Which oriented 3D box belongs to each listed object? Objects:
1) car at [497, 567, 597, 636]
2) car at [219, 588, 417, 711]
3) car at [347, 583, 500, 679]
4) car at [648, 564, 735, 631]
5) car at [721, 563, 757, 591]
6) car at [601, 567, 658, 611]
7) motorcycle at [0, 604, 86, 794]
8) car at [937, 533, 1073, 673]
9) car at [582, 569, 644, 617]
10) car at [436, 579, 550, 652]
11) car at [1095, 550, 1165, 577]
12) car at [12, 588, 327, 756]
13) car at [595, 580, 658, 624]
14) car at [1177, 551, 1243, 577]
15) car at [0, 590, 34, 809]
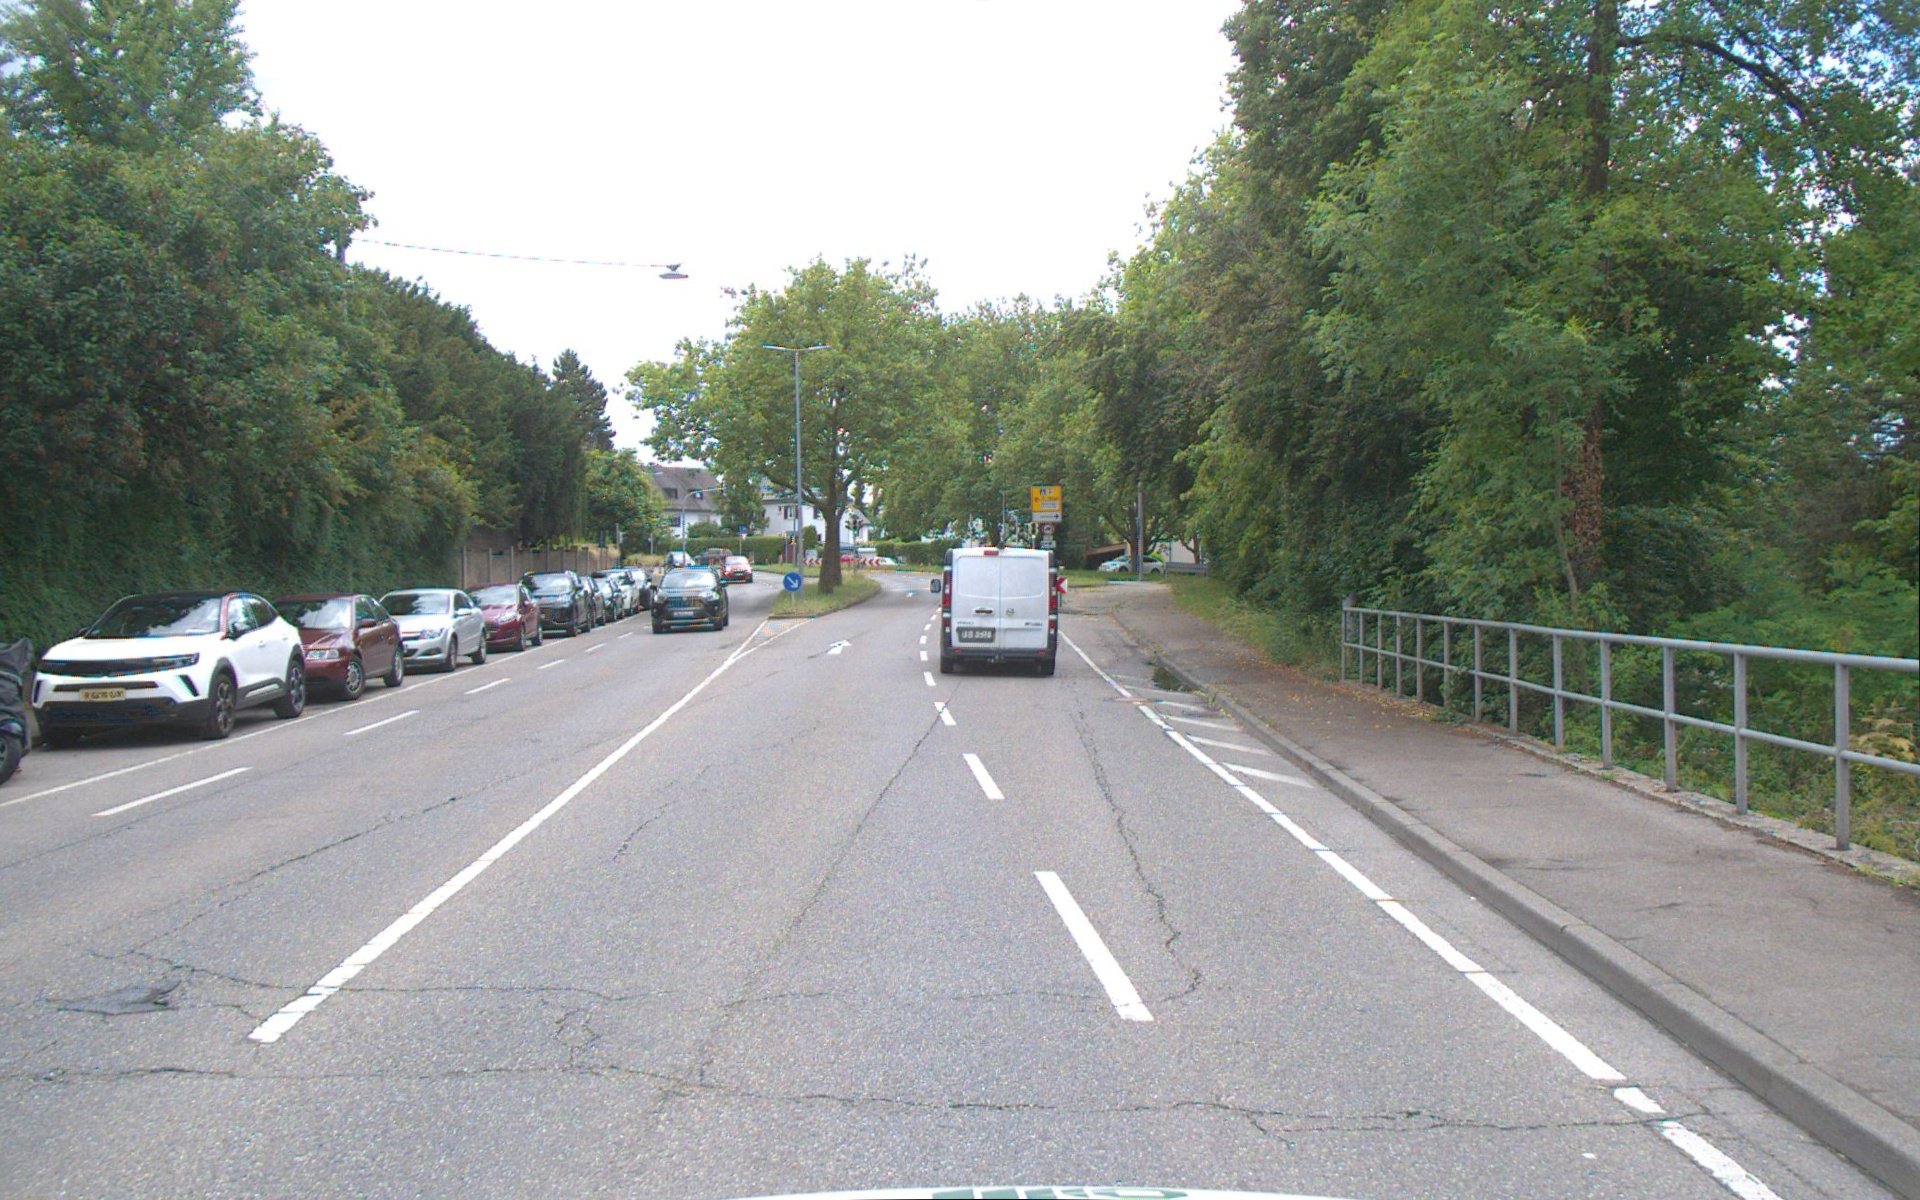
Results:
[{"bbox_3d":[-10.834,-0.008,43.649,1.956,1.671,4.460,-2,1,-7],"label":"car"},{"bbox_3d":[-9.049,0.633,23.643,1.638,1.504,3.906,-2,1,-7],"label":"car"},{"bbox_3d":[-9.604,0.494,29.935,1.637,1.514,4.426,-2,1,-5],"label":"car"},{"bbox_3d":[-7.160,-0.071,44.492,1.805,1.676,4.211,-1,0,-3],"label":"car"},{"bbox_3d":[-13.401,-1.414,100.285,1.959,1.615,3.993,-2,1,-5],"label":"car"},{"bbox_3d":[-13.011,-0.450,65.283,1.852,1.653,4.424,-1,1,-7],"label":"car"},{"bbox_3d":[-8.005,0.791,13.837,0.874,1.379,2.292,-4,3,-21],"label":"motorcycle"},{"bbox_3d":[0.648,0.020,27.530,1.966,2.073,5.009,1,1,-2],"label":"car"},{"bbox_3d":[-12.543,-0.285,59.965,1.640,1.619,4.092,-3,1,-5],"label":"car"},{"bbox_3d":[-10.289,0.303,36.697,1.745,1.463,3.995,-2,1,-7],"label":"car"},{"bbox_3d":[11.774,-2.537,114.609,4.690,1.800,1.976,-2,2,-35],"label":"car"},{"bbox_3d":[-8.519,0.686,18.250,1.853,1.520,4.021,-3,1,-7],"label":"car"},{"bbox_3d":[-11.058,0.039,55.100,1.616,1.351,4.217,-1,1,-6],"label":"car"},{"bbox_3d":[18.047,-2.622,119.408,4.690,1.800,1.976,-2,2,-35],"label":"car"},{"bbox_3d":[-7.629,0.762,10.383,1.646,1.583,3.967,-3,1,-6],"label":"car"}]
